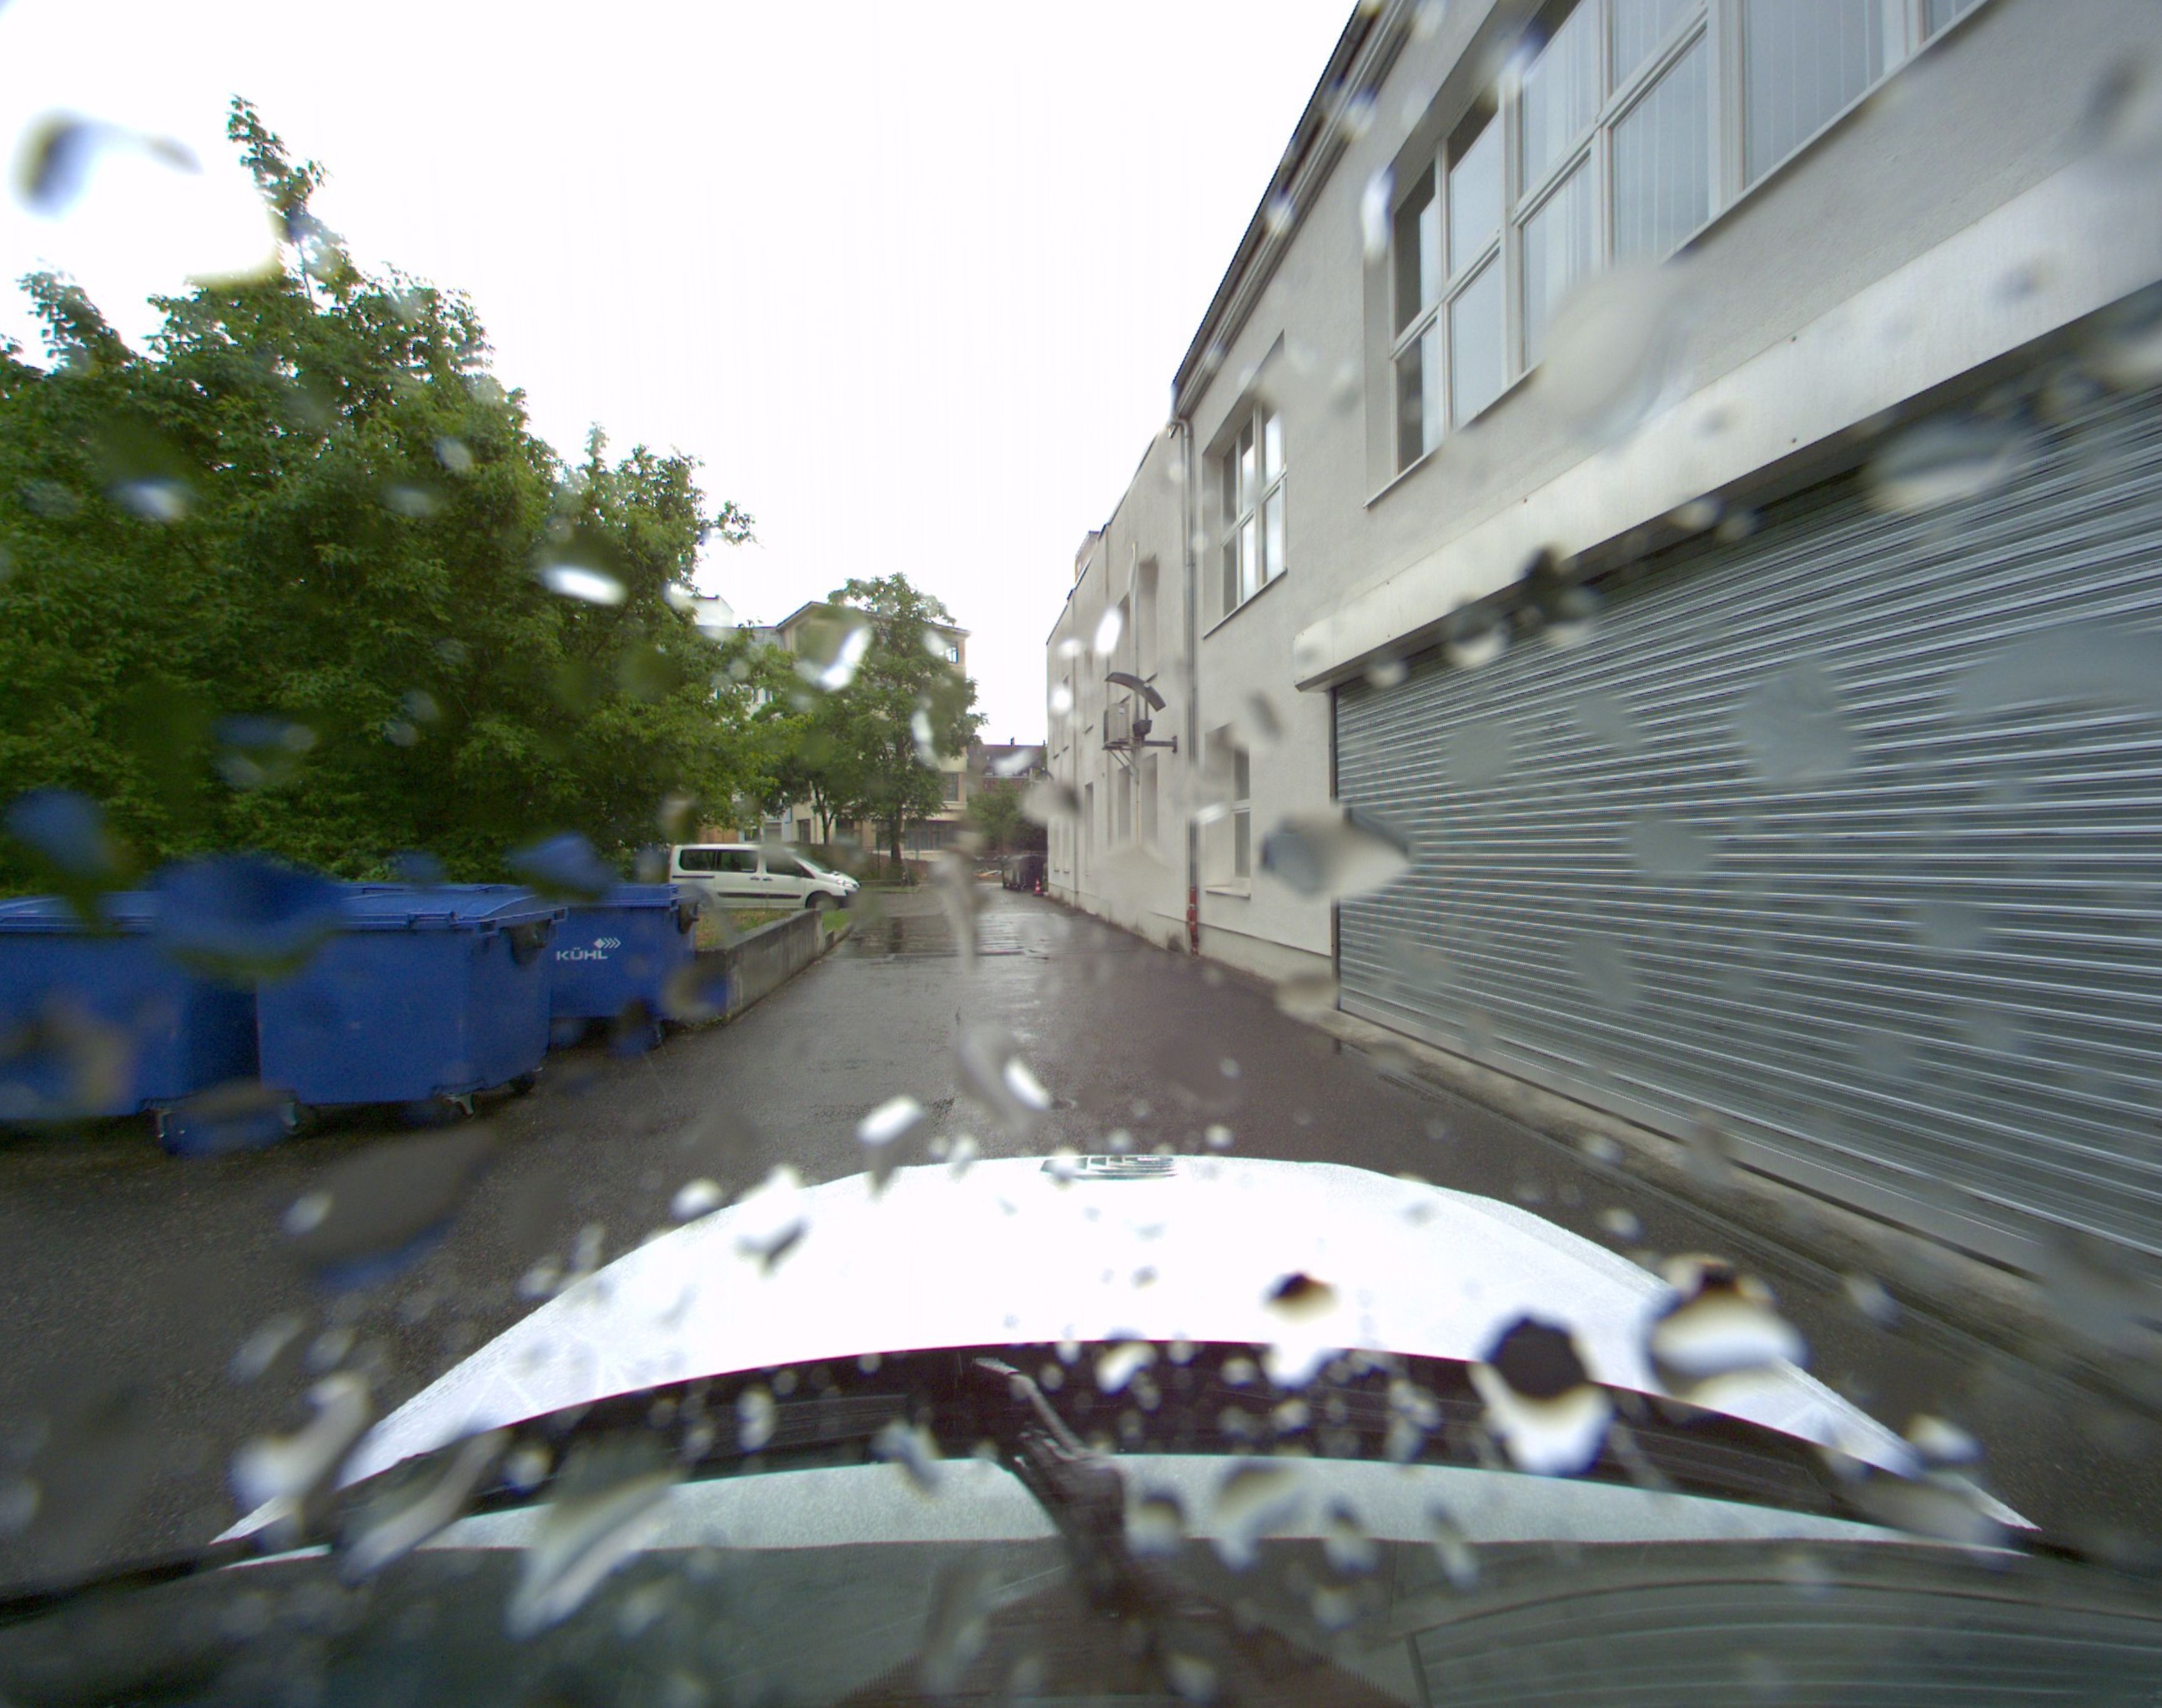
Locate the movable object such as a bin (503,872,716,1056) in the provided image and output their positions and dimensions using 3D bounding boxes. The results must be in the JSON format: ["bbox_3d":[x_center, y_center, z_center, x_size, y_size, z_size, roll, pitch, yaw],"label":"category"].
[{"bbox_3d":[-3.825,0.843,6.741,1.221,1.337,1.003,0,0,-9],"label":"movable object such as a bin"}]

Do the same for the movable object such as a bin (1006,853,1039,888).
[{"bbox_3d":[-2.445,0.699,33.744,1.215,1.437,1.289,0,-2,-12],"label":"movable object such as a bin"}]

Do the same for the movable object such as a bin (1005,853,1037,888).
[{"bbox_3d":[-2.608,0.720,35.370,1.215,1.468,1.231,0,-2,-12],"label":"movable object such as a bin"}]

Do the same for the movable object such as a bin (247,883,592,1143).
[{"bbox_3d":[-3.904,0.868,4.967,1.201,1.337,1.114,0,0,-6],"label":"movable object such as a bin"}]

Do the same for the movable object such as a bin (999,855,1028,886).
[{"bbox_3d":[-3.152,0.791,38.060,1.215,1.437,1.254,0,-2,-12],"label":"movable object such as a bin"}]

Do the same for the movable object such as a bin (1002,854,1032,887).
[{"bbox_3d":[-2.899,0.738,36.710,1.215,1.437,1.254,0,-2,-12],"label":"movable object such as a bin"}]

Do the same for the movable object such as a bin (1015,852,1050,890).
[{"bbox_3d":[-1.936,0.684,32.125,1.215,1.437,1.231,0,-2,-12],"label":"movable object such as a bin"}]

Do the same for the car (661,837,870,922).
[{"bbox_3d":[-8.170,0.623,21.562,4.779,2.013,1.994,-1,1,-9],"label":"car"}]

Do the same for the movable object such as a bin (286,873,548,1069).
[{"bbox_3d":[-5.111,0.848,6.387,1.221,1.337,1.003,0,1,-9],"label":"movable object such as a bin"}]

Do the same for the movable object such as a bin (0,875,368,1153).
[{"bbox_3d":[-5.203,0.833,4.708,1.202,1.337,1.113,1,1,-9],"label":"movable object such as a bin"}]
